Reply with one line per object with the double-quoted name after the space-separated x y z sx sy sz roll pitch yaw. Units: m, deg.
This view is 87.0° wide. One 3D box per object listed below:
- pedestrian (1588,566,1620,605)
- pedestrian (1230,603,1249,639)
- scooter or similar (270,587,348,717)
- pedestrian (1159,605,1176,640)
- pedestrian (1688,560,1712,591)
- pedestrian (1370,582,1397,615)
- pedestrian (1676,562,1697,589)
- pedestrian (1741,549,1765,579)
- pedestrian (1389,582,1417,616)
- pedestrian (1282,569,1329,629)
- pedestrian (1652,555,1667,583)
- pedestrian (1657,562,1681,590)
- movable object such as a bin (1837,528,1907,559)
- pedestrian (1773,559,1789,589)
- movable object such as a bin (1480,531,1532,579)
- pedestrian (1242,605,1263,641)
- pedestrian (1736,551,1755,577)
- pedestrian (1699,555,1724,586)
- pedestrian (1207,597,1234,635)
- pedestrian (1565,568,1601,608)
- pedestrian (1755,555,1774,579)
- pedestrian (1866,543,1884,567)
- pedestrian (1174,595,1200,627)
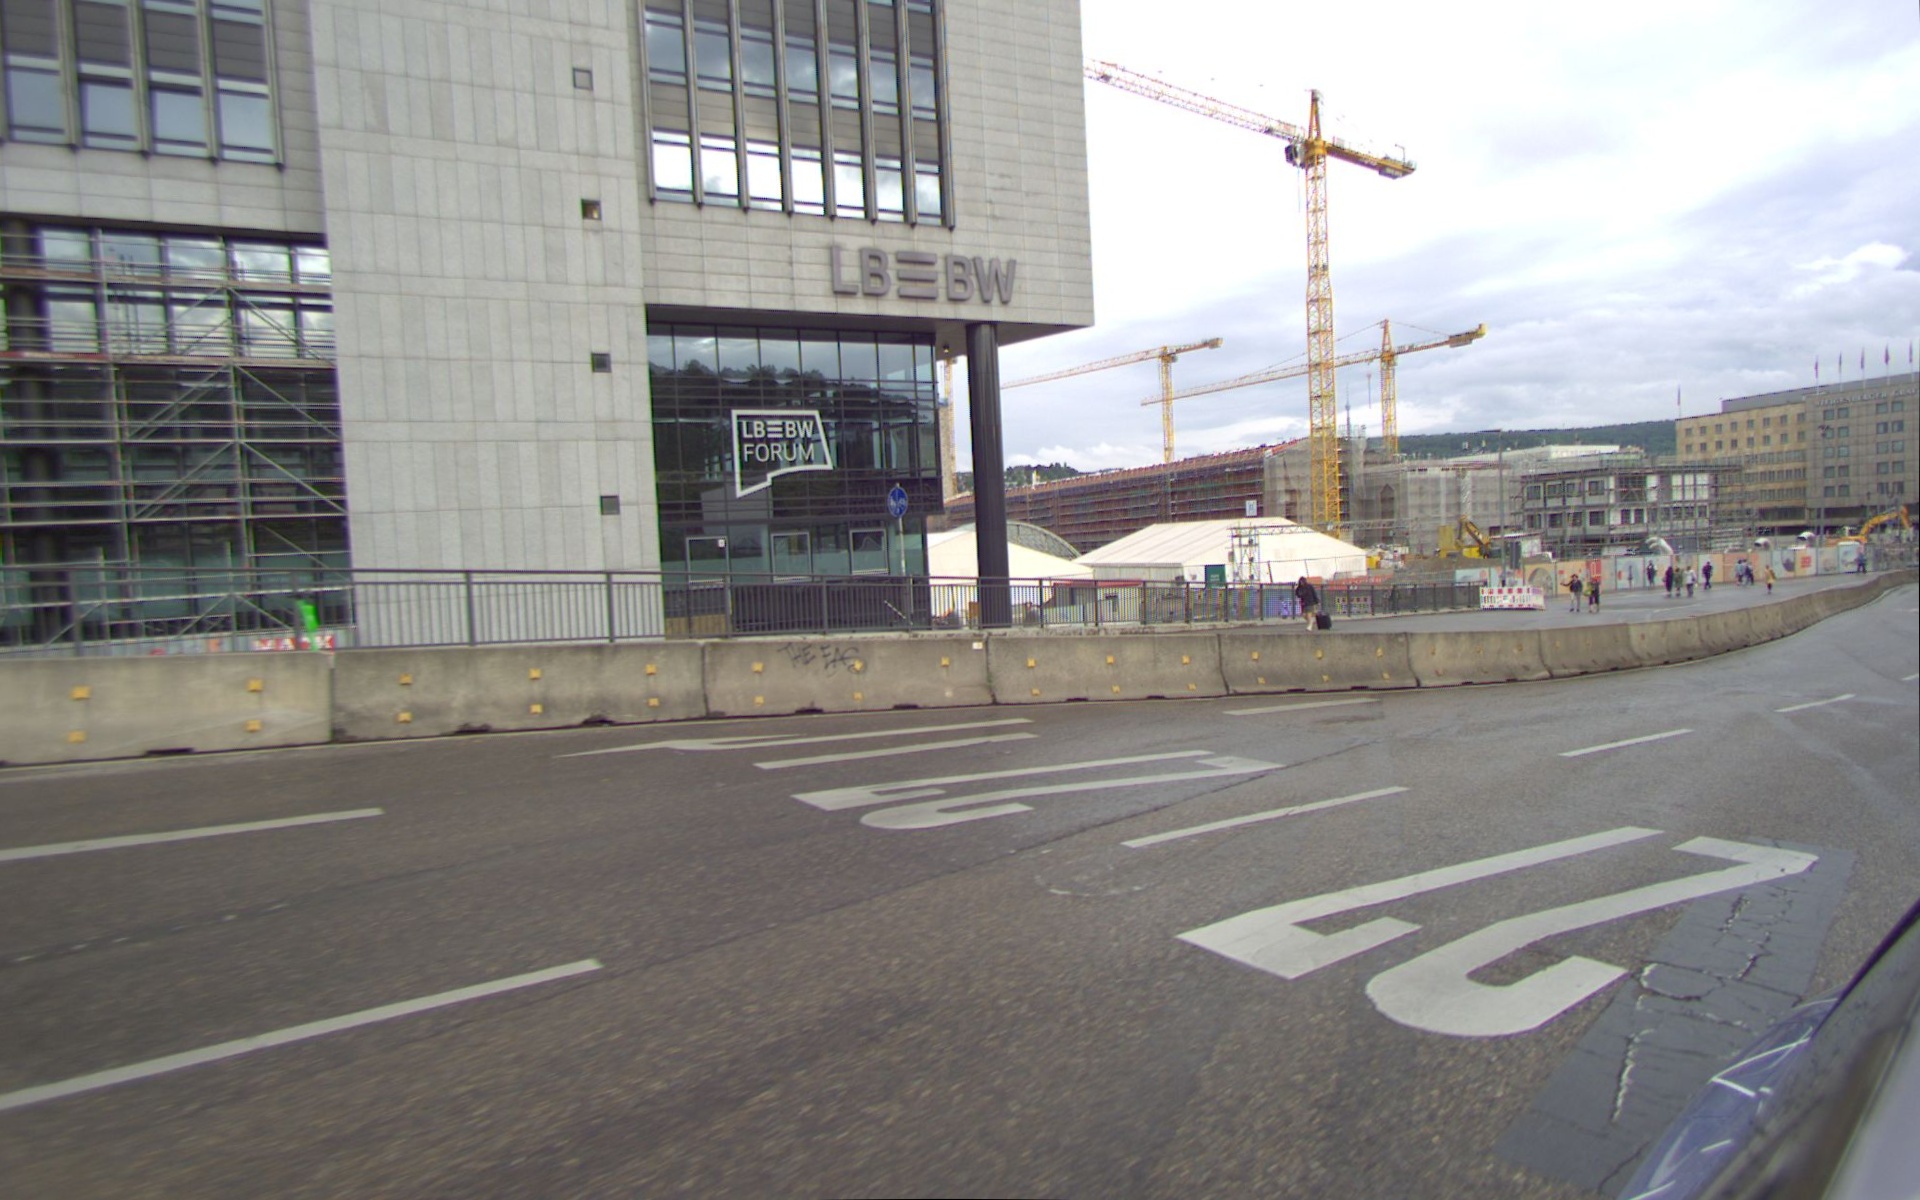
26.909 -0.604 42.280 0.788 1.594 0.736 -3 1 -17 "pedestrian"
13.564 1.005 49.098 0.738 1.657 0.587 -2 2 4 "pedestrian"
-6.161 0.478 9.597 0.561 1.177 0.350 -2 2 -30 "scooter or similar"
10.004 1.095 48.828 0.554 1.635 0.708 -3 2 -11 "pedestrian"
42.914 -1.420 58.676 0.873 1.743 0.781 -3 2 -25 "pedestrian"
22.860 -0.113 54.604 0.987 1.709 0.871 -3 2 -15 "pedestrian"
42.458 -1.417 59.160 0.867 1.541 0.612 -3 2 -25 "pedestrian"
51.455 -2.342 65.661 0.912 1.871 0.822 -2 2 -8 "pedestrian"
23.412 -0.052 53.481 0.987 1.746 0.871 -3 2 -15 "pedestrian"
9.983 -0.051 29.244 1.038 1.672 0.733 -2 1 -17 "pedestrian"
45.339 -2.030 65.592 0.485 1.769 0.569 -3 2 -26 "pedestrian"
41.808 -1.408 59.678 0.988 1.572 0.718 -3 2 -25 "pedestrian"
80.126 -4.972 88.953 4.063 2.566 1.995 -2 2 11 "movable object such as a bin"
47.773 -1.509 58.885 0.893 1.652 0.647 -4 3 -44 "pedestrian"
41.715 -3.450 77.286 4.154 3.450 1.942 -4 3 -37 "movable object such as a bin"
13.666 1.070 47.322 0.757 1.657 0.604 -2 2 4 "pedestrian"
52.599 -2.395 67.777 0.750 1.675 0.650 -2 2 -8 "pedestrian"
47.104 -1.851 63.446 0.988 1.840 0.870 -3 2 -25 "pedestrian"
13.022 0.808 50.619 0.987 1.805 0.775 -3 2 -15 "pedestrian"
26.393 -0.523 42.904 0.932 1.612 0.865 -3 2 -17 "pedestrian"
53.379 -2.179 67.145 0.750 1.572 0.650 -2 2 -8 "pedestrian"
66.566 -3.258 73.610 0.673 1.726 0.748 -3 4 -30 "pedestrian"
11.912 0.556 53.143 0.987 1.572 0.871 -3 2 -15 "pedestrian"
